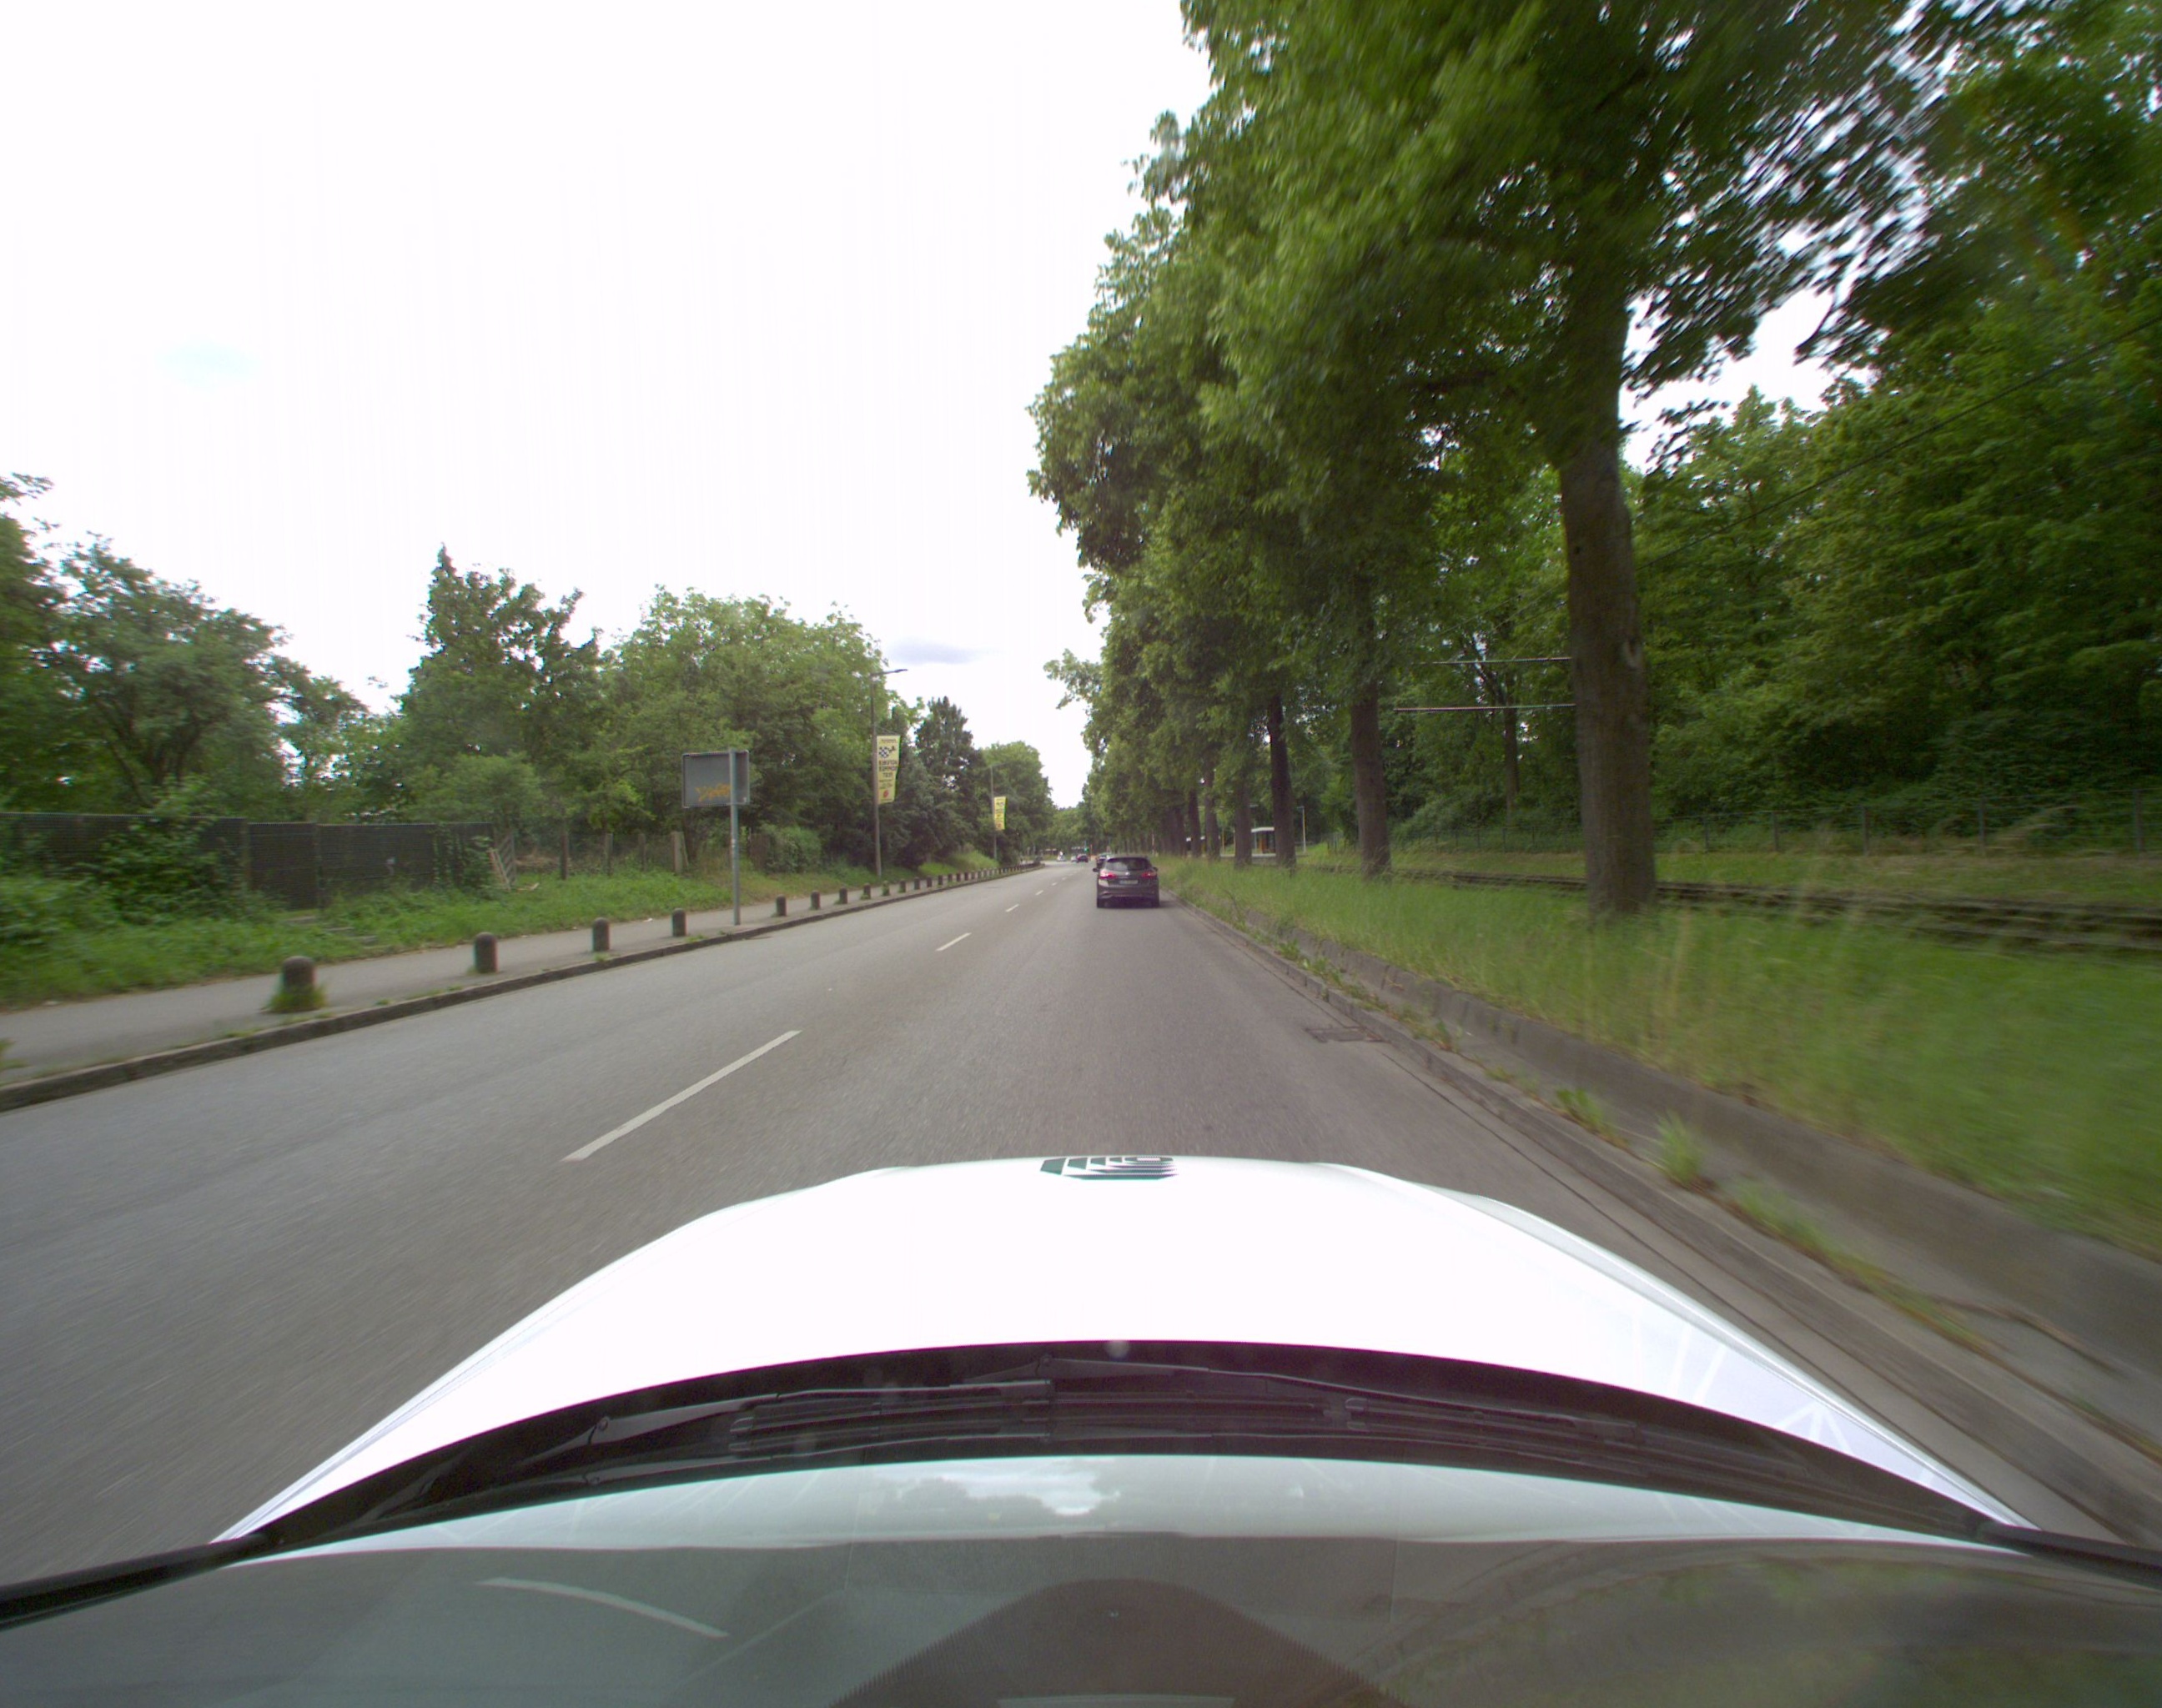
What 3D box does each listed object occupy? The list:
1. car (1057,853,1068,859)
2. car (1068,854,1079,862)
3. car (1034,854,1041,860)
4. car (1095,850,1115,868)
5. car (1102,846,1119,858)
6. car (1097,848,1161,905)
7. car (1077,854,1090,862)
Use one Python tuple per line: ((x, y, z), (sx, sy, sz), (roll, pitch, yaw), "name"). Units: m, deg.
((-4.030, 0.415, 176.106), (1.563, 1.441, 3.536), (0, 0, -13), "car")
((-1.400, 0.699, 154.096), (1.561, 1.441, 3.540), (0, 0, -9), "car")
((-11.117, 0.840, 209.577), (1.560, 1.441, 3.541), (0, 0, -8), "car")
((2.142, 0.445, 73.094), (1.724, 1.537, 3.552), (0, 0, 1), "car")
((3.511, -0.266, 98.903), (1.559, 1.441, 3.544), (0, 0, -6), "car")
((1.348, 0.610, 23.982), (1.724, 1.537, 3.552), (0, 0, 1), "car")
((0.375, 0.655, 138.519), (1.561, 1.441, 3.540), (0, 0, -9), "car")
